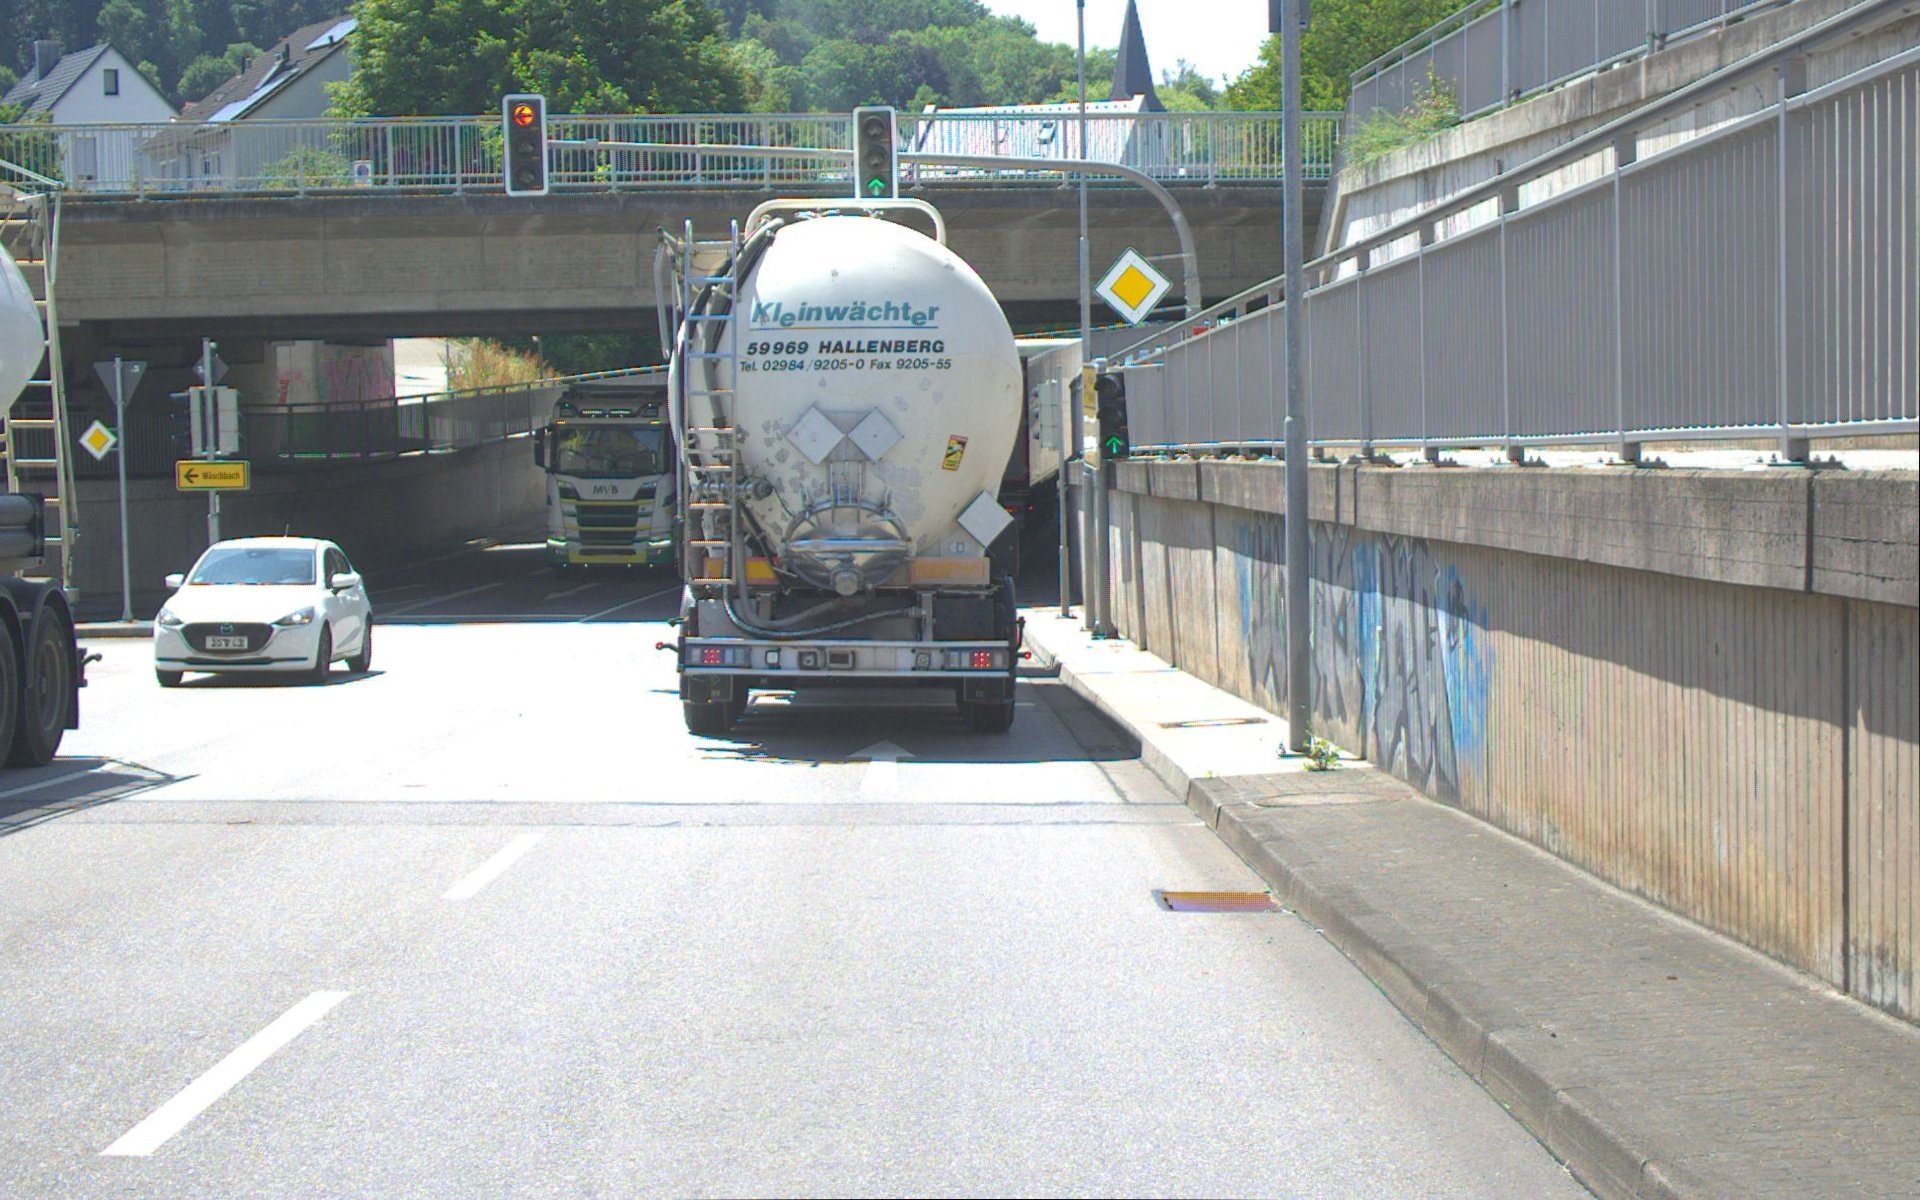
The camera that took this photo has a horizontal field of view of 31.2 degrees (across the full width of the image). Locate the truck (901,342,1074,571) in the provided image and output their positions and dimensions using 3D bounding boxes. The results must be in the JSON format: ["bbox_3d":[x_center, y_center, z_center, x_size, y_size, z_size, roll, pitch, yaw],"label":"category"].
[{"bbox_3d":[0.767,-3.342,80.446,3.081,4.982,10.082,1,2,6],"label":"truck"}]

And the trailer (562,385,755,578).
[{"bbox_3d":[-6.070,-2.399,70.805,2.689,3.650,9.889,1,1,2],"label":"trailer"}]

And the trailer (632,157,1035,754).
[{"bbox_3d":[-0.835,-1.140,30.010,2.735,4.050,13.314,0,1,0],"label":"trailer"}]

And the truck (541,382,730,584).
[{"bbox_3d":[-6.175,-2.234,66.438,2.689,3.650,7.369,1,1,2],"label":"truck"}]

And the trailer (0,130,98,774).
[{"bbox_3d":[-7.183,-0.869,18.869,2.610,3.950,9.347,0,1,0],"label":"trailer"}]

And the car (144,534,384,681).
[{"bbox_3d":[-7.222,0.031,36.024,1.682,1.435,4.094,0,1,0],"label":"car"}]
